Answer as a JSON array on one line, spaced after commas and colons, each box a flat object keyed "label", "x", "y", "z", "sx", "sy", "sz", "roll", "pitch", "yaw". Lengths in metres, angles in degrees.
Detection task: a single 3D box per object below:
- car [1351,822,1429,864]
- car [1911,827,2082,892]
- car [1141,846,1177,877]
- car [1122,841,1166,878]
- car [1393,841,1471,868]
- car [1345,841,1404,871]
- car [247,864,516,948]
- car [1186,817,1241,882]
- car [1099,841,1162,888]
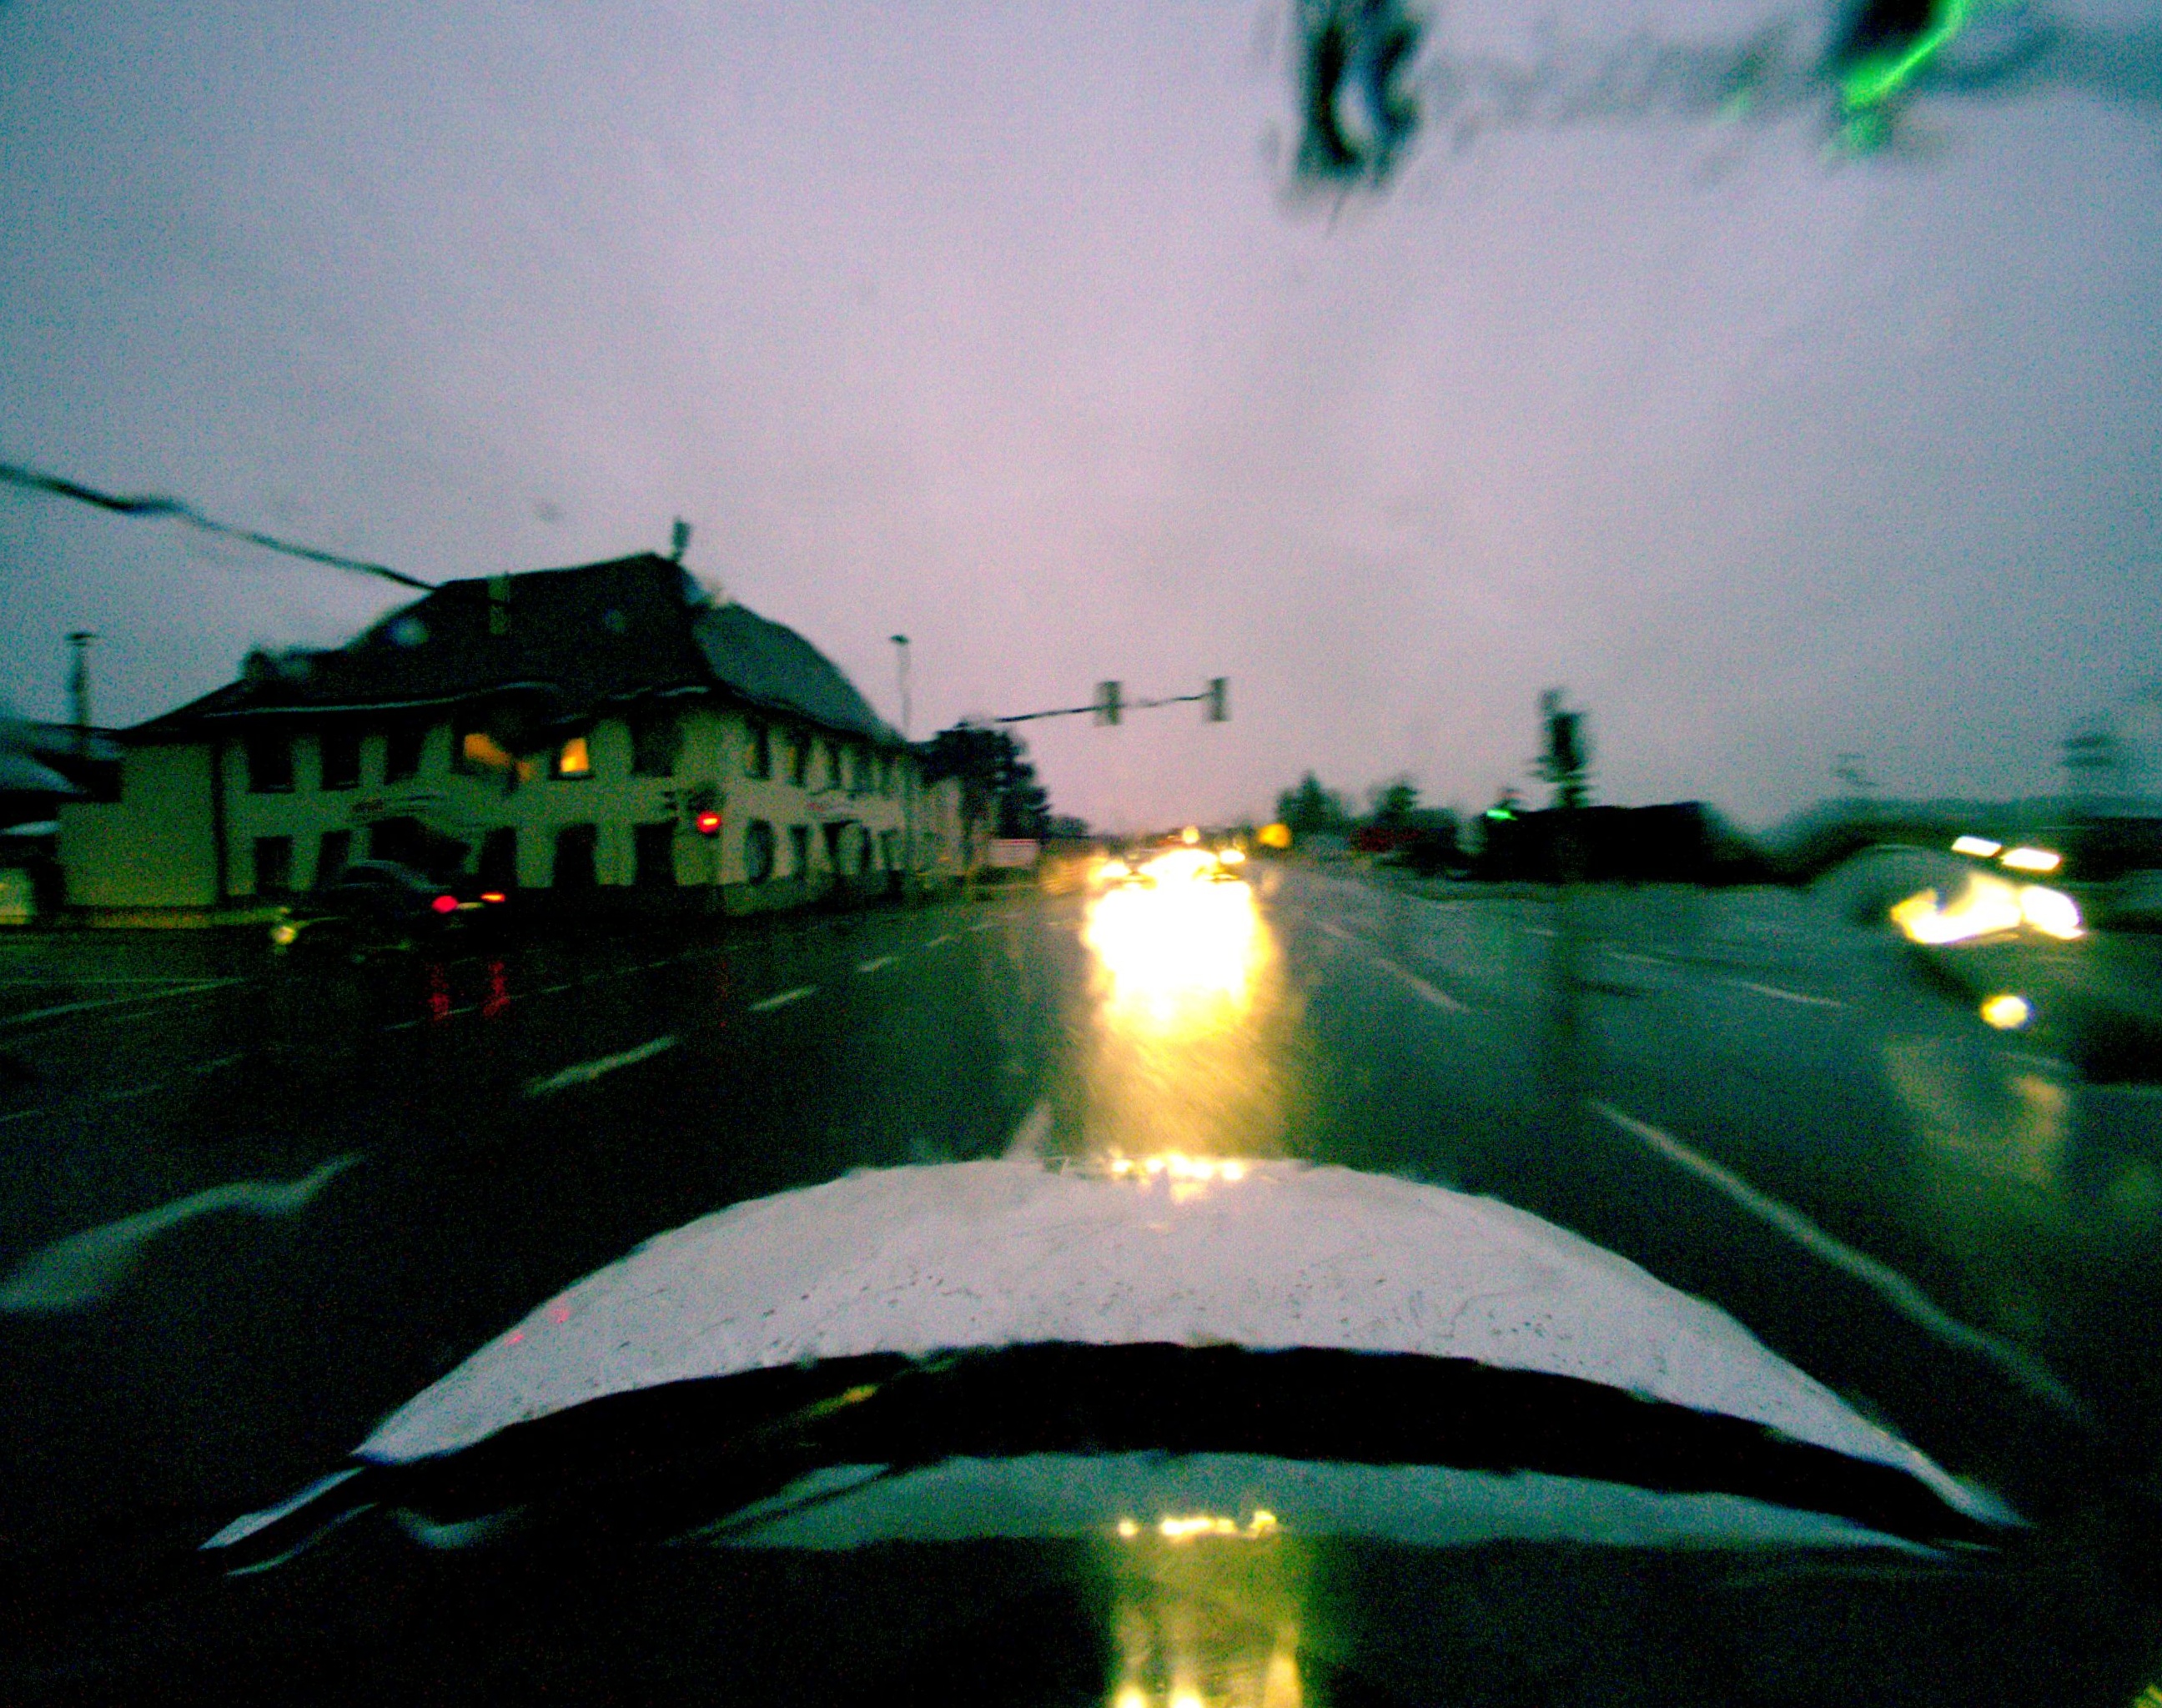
[{"label": "car", "x": 23.680, "y": -0.832, "z": 62.593, "sx": 5.233, "sy": 2.870, "sz": 1.778, "roll": -3, "pitch": 0, "yaw": 1}, {"label": "car", "x": 25.614, "y": 0.119, "z": 22.808, "sx": 3.914, "sy": 1.689, "sz": 1.807, "roll": -1, "pitch": 0, "yaw": -18}, {"label": "car", "x": 4.738, "y": 0.431, "z": 49.008, "sx": 1.710, "sy": 1.723, "sz": 3.940, "roll": -2, "pitch": -1, "yaw": 11}, {"label": "car", "x": 3.290, "y": 0.261, "z": 42.133, "sx": 1.816, "sy": 1.769, "sz": 3.764, "roll": -1, "pitch": 1, "yaw": 11}, {"label": "car", "x": 23.577, "y": 0.036, "z": 54.845, "sx": 4.495, "sy": 1.530, "sz": 1.783, "roll": -3, "pitch": 0, "yaw": 13}, {"label": "car", "x": 21.431, "y": 0.153, "z": 59.587, "sx": 3.955, "sy": 2.013, "sz": 2.009, "roll": -3, "pitch": 0, "yaw": 18}, {"label": "car", "x": -14.951, "y": 1.100, "z": 17.483, "sx": 4.652, "sy": 1.573, "sz": 2.062, "roll": -2, "pitch": 0, "yaw": 15}, {"label": "car", "x": 6.489, "y": -0.200, "z": 39.667, "sx": 2.386, "sy": 2.892, "sz": 6.268, "roll": 1, "pitch": 0, "yaw": 10}, {"label": "car", "x": 2.098, "y": 0.377, "z": 33.390, "sx": 1.980, "sy": 1.746, "sz": 4.013, "roll": -2, "pitch": 0, "yaw": 11}]
